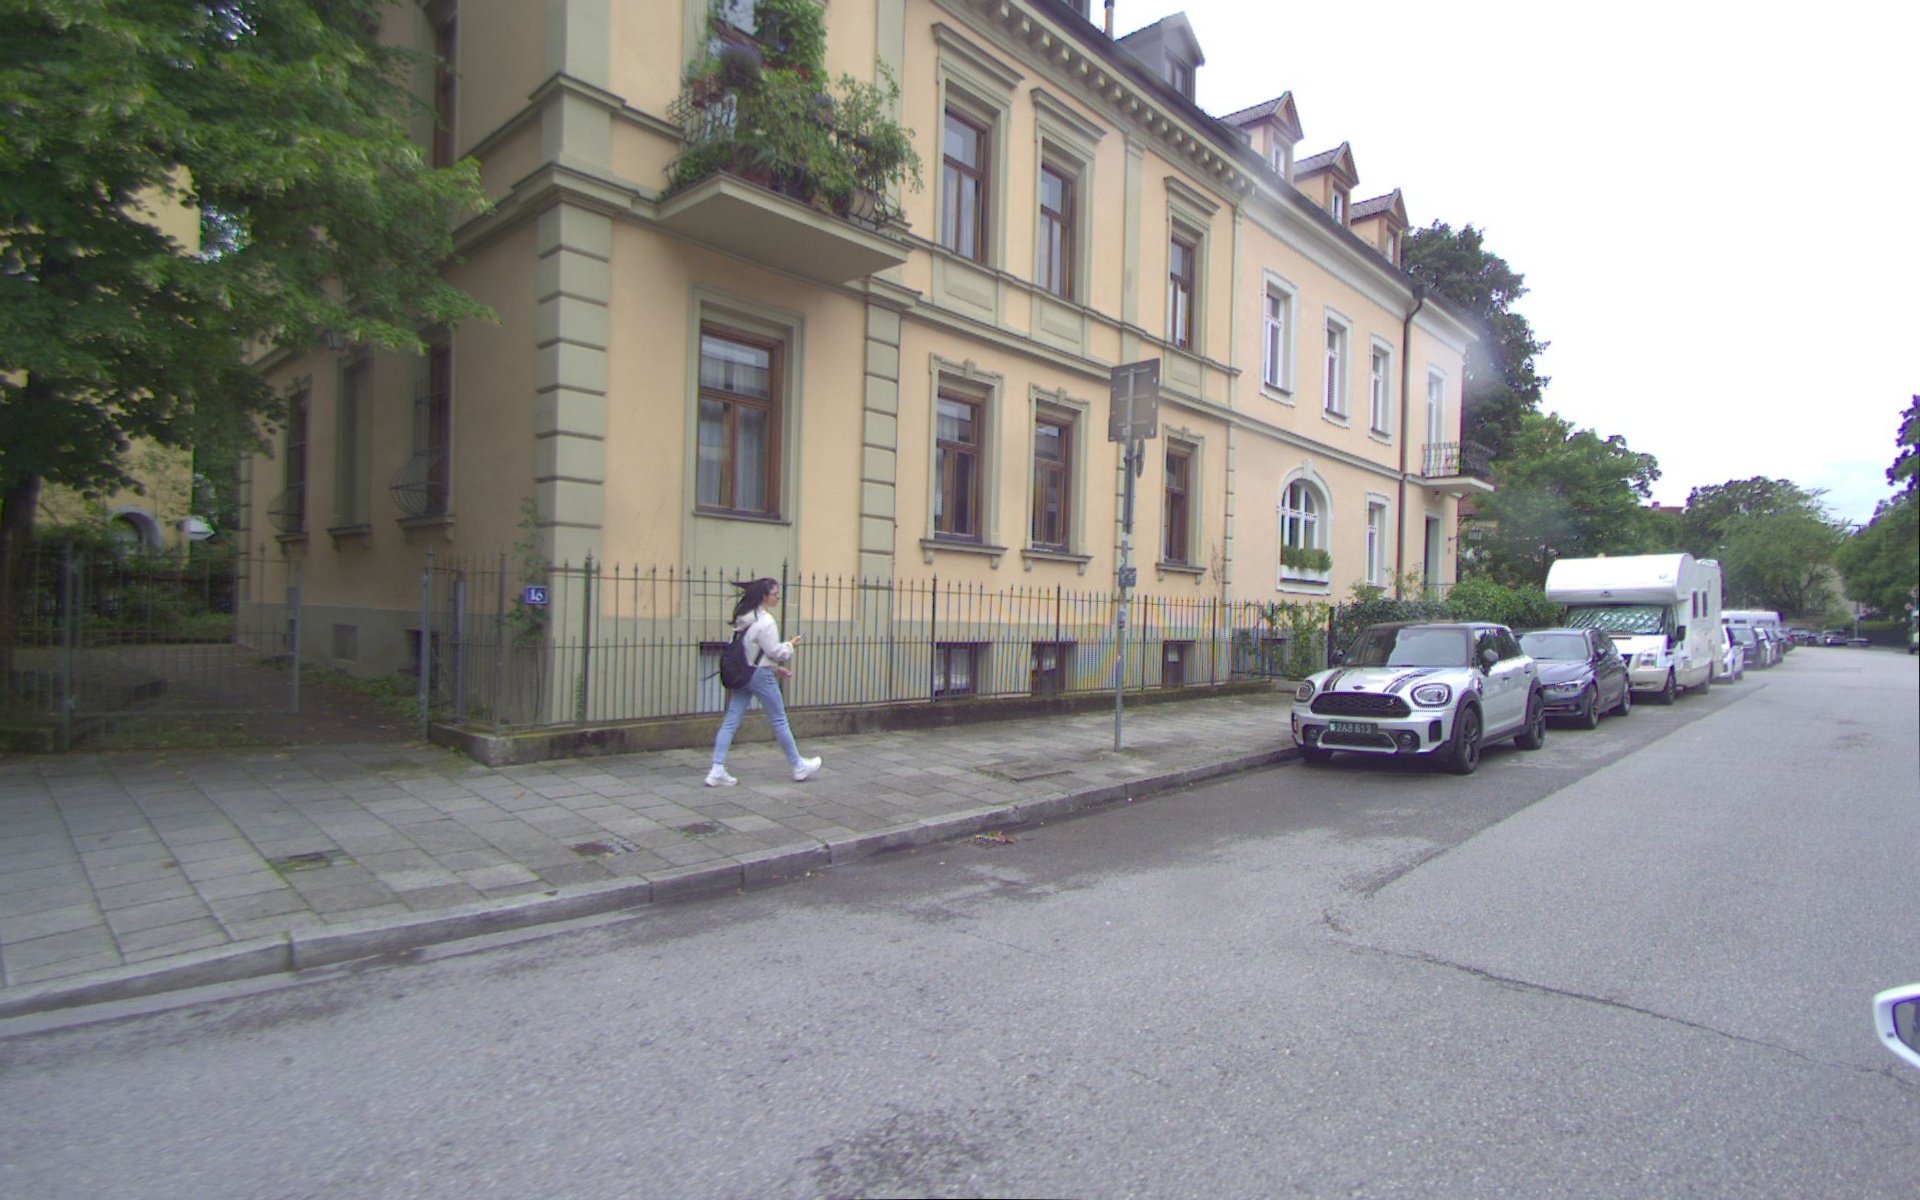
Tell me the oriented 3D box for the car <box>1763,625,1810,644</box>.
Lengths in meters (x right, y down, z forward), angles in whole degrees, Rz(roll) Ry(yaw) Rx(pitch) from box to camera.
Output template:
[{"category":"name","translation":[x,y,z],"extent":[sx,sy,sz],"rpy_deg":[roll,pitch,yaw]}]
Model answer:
[{"category":"car","translation":[80.323,3.346,97.654],"extent":[1.961,1.734,4.885],"rpy_deg":[0,-1,19]}]

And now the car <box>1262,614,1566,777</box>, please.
[{"category":"car","translation":[5.525,0.983,11.914],"extent":[1.915,1.555,4.504],"rpy_deg":[-2,-3,43]}]

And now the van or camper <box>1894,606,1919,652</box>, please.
[{"category":"van or camper","translation":[64.418,1.934,66.478],"extent":[2.240,2.945,7.262],"rpy_deg":[1,-1,31]}]

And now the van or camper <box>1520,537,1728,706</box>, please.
[{"category":"van or camper","translation":[14.211,0.476,21.219],"extent":[2.429,2.979,7.168],"rpy_deg":[-1,-2,44]}]

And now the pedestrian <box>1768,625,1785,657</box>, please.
[{"category":"pedestrian","translation":[42.673,2.124,52.499],"extent":[0.581,1.670,0.712],"rpy_deg":[-1,0,32]}]

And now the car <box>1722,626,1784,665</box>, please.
[{"category":"car","translation":[33.663,1.909,42.603],"extent":[1.824,1.555,4.539],"rpy_deg":[-2,-3,41]}]

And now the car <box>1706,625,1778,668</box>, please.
[{"category":"car","translation":[30.387,1.780,38.973],"extent":[1.825,1.555,4.496],"rpy_deg":[-2,-3,42]}]

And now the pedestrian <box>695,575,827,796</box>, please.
[{"category":"pedestrian","translation":[-1.586,0.645,7.999],"extent":[0.734,1.625,0.647],"rpy_deg":[1,3,-43]}]

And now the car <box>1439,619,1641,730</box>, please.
[{"category":"car","translation":[9.476,1.098,16.212],"extent":[1.914,1.528,4.797],"rpy_deg":[-2,-3,41]}]

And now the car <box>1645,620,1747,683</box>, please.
[{"category":"car","translation":[19.820,1.336,26.970],"extent":[1.759,1.555,4.205],"rpy_deg":[-2,-3,42]}]

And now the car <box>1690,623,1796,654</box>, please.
[{"category":"car","translation":[42.245,2.069,54.308],"extent":[4.267,1.550,1.931],"rpy_deg":[1,-2,29]}]

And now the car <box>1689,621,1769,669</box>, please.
[{"category":"car","translation":[27.164,1.585,35.426],"extent":[1.825,1.555,4.417],"rpy_deg":[-2,-3,42]}]

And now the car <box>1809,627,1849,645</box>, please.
[{"category":"car","translation":[77.299,3.207,89.403],"extent":[1.710,1.556,2.947],"rpy_deg":[0,-2,19]}]

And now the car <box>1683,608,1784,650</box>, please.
[{"category":"car","translation":[48.580,1.792,63.178],"extent":[4.543,2.597,2.236],"rpy_deg":[0,0,9]}]
